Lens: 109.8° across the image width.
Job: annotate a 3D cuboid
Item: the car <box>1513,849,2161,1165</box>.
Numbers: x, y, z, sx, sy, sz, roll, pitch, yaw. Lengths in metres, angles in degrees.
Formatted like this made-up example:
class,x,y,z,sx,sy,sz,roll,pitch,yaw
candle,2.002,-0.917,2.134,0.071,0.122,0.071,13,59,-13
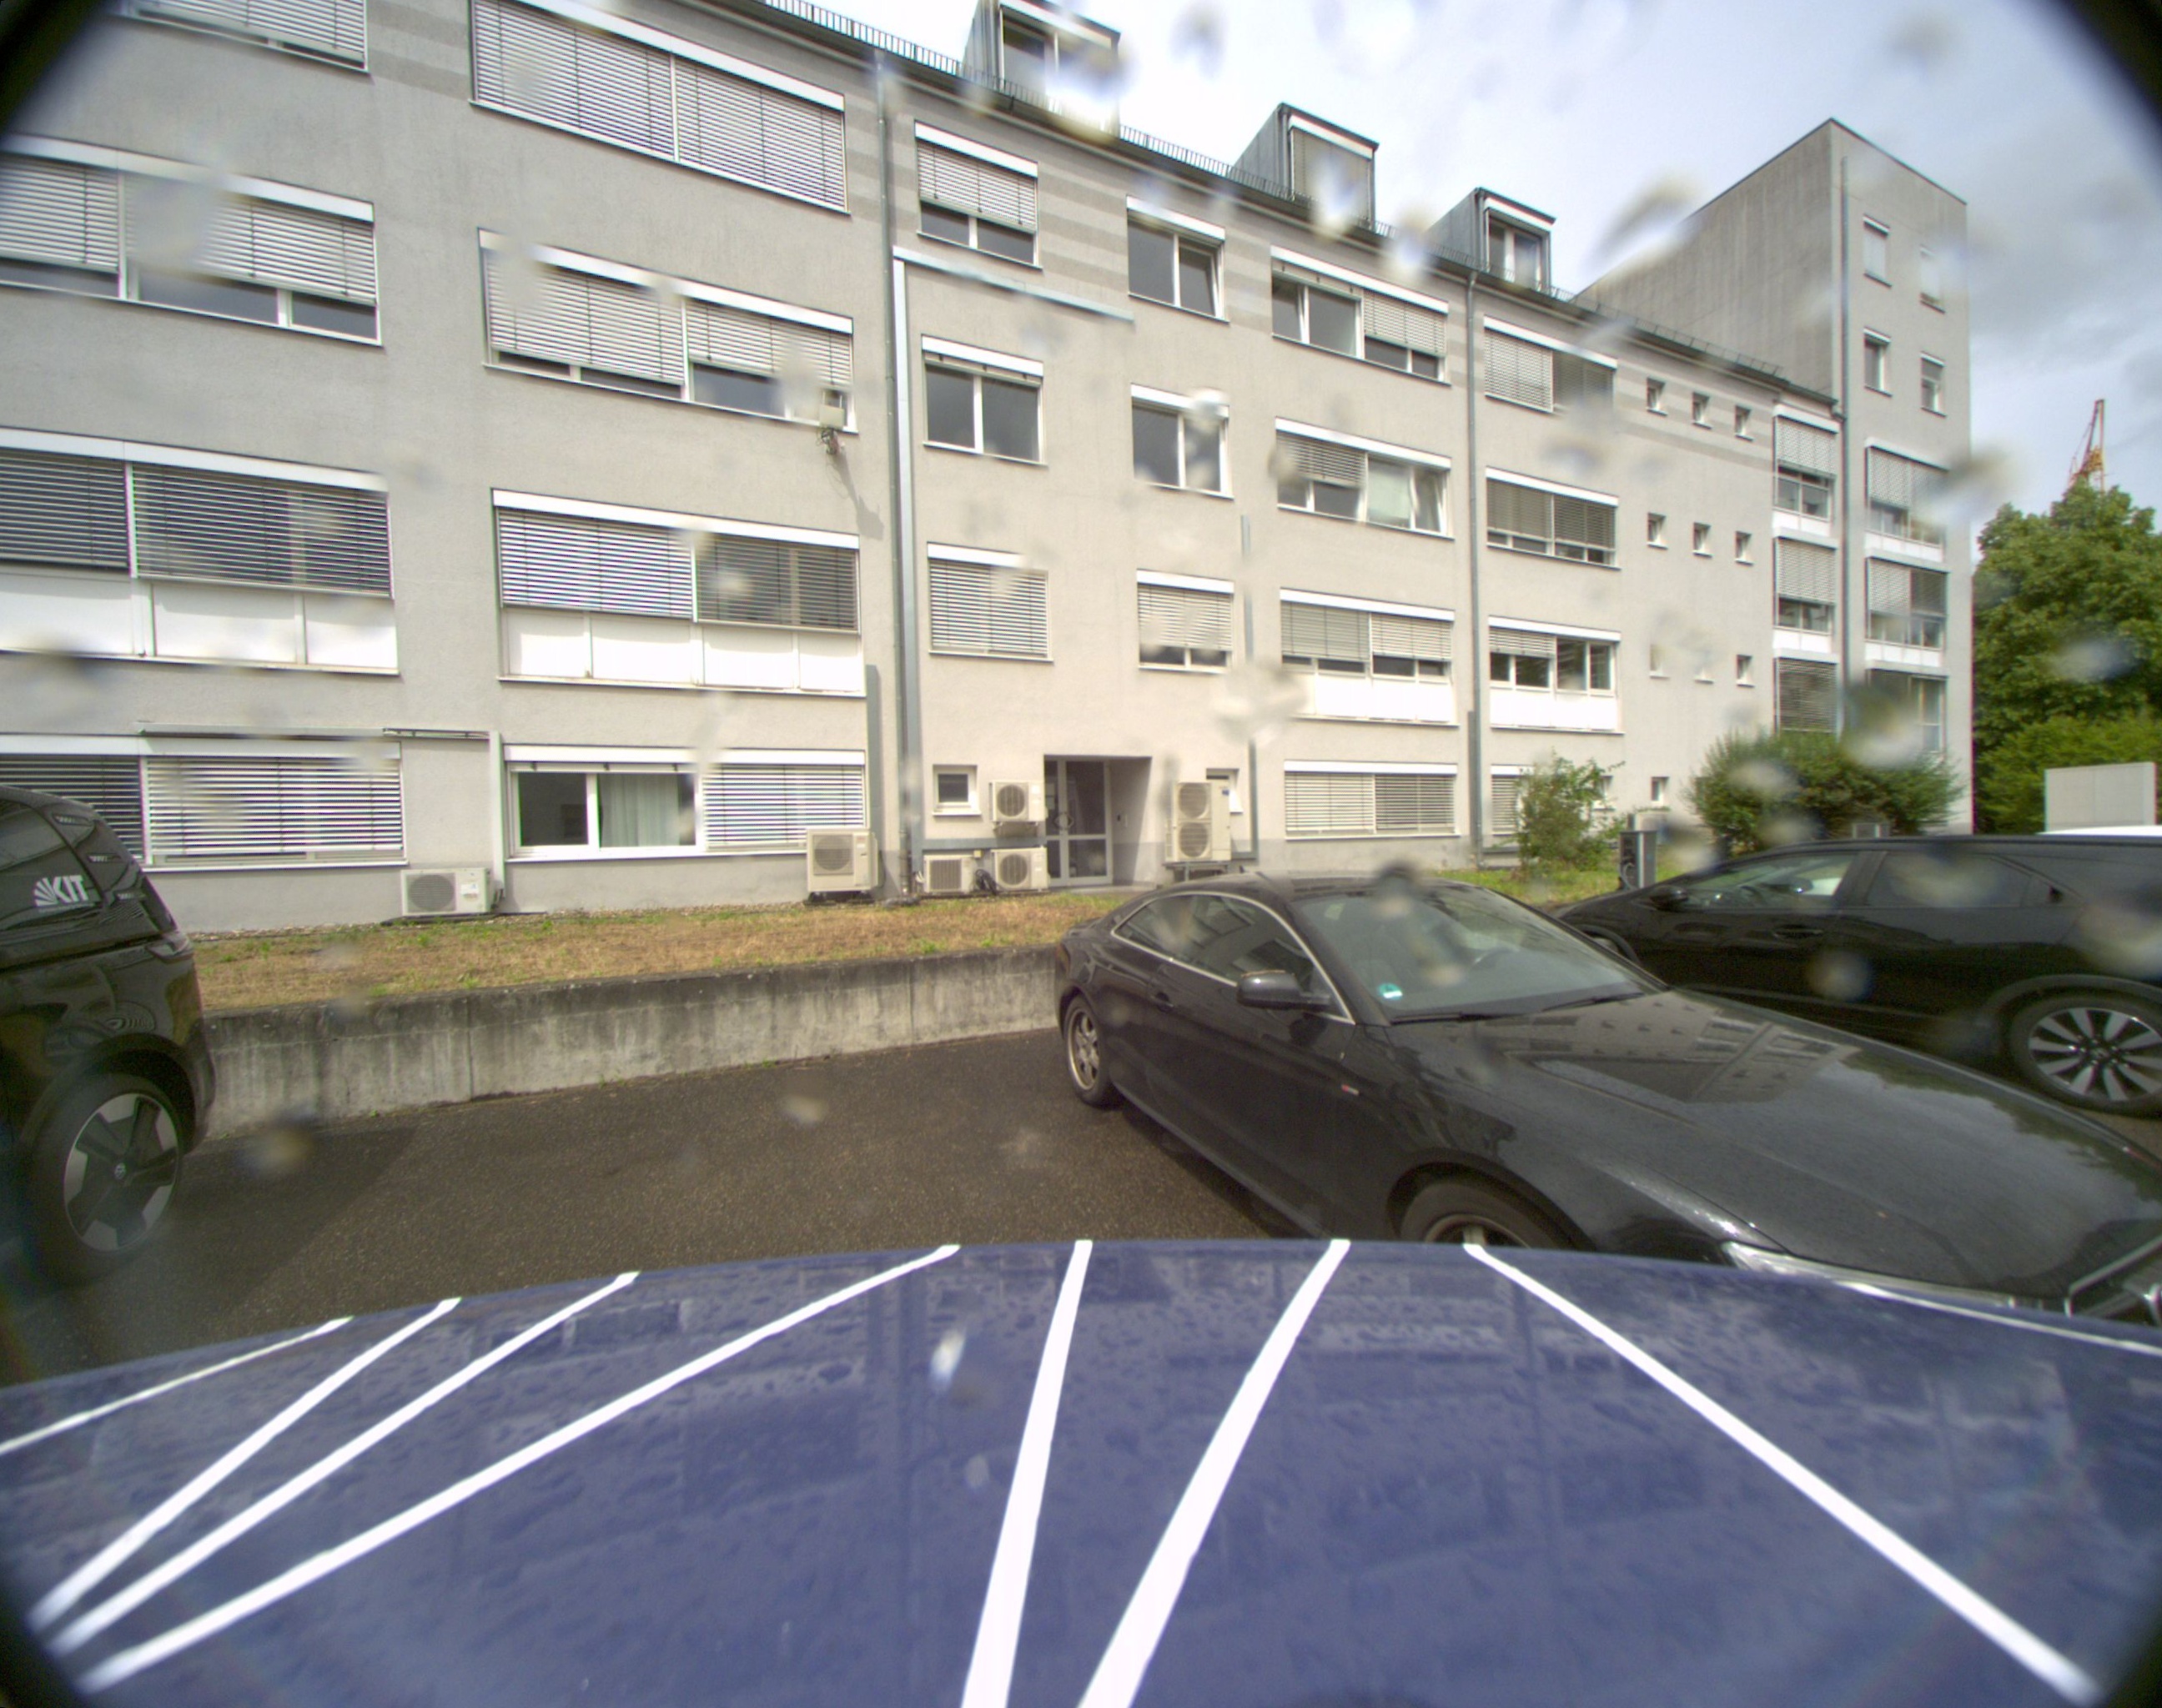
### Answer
class,x,y,z,sx,sy,sz,roll,pitch,yaw
car,5.542,0.737,5.194,1.765,1.434,4.306,-3,2,-23

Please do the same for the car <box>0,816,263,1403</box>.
class,x,y,z,sx,sy,sz,roll,pitch,yaw
car,-3.947,0.857,1.068,1.973,1.854,4.738,-2,2,-23

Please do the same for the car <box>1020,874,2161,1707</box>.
class,x,y,z,sx,sy,sz,roll,pitch,yaw
car,1.276,0.902,3.355,1.765,1.344,4.520,-3,2,-22

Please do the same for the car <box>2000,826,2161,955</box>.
class,x,y,z,sx,sy,sz,roll,pitch,yaw
car,13.552,0.423,8.193,1.765,1.434,4.306,-3,2,-23

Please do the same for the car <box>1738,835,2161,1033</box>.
class,x,y,z,sx,sy,sz,roll,pitch,yaw
car,8.655,0.580,6.619,1.698,1.435,4.117,-3,2,-21
